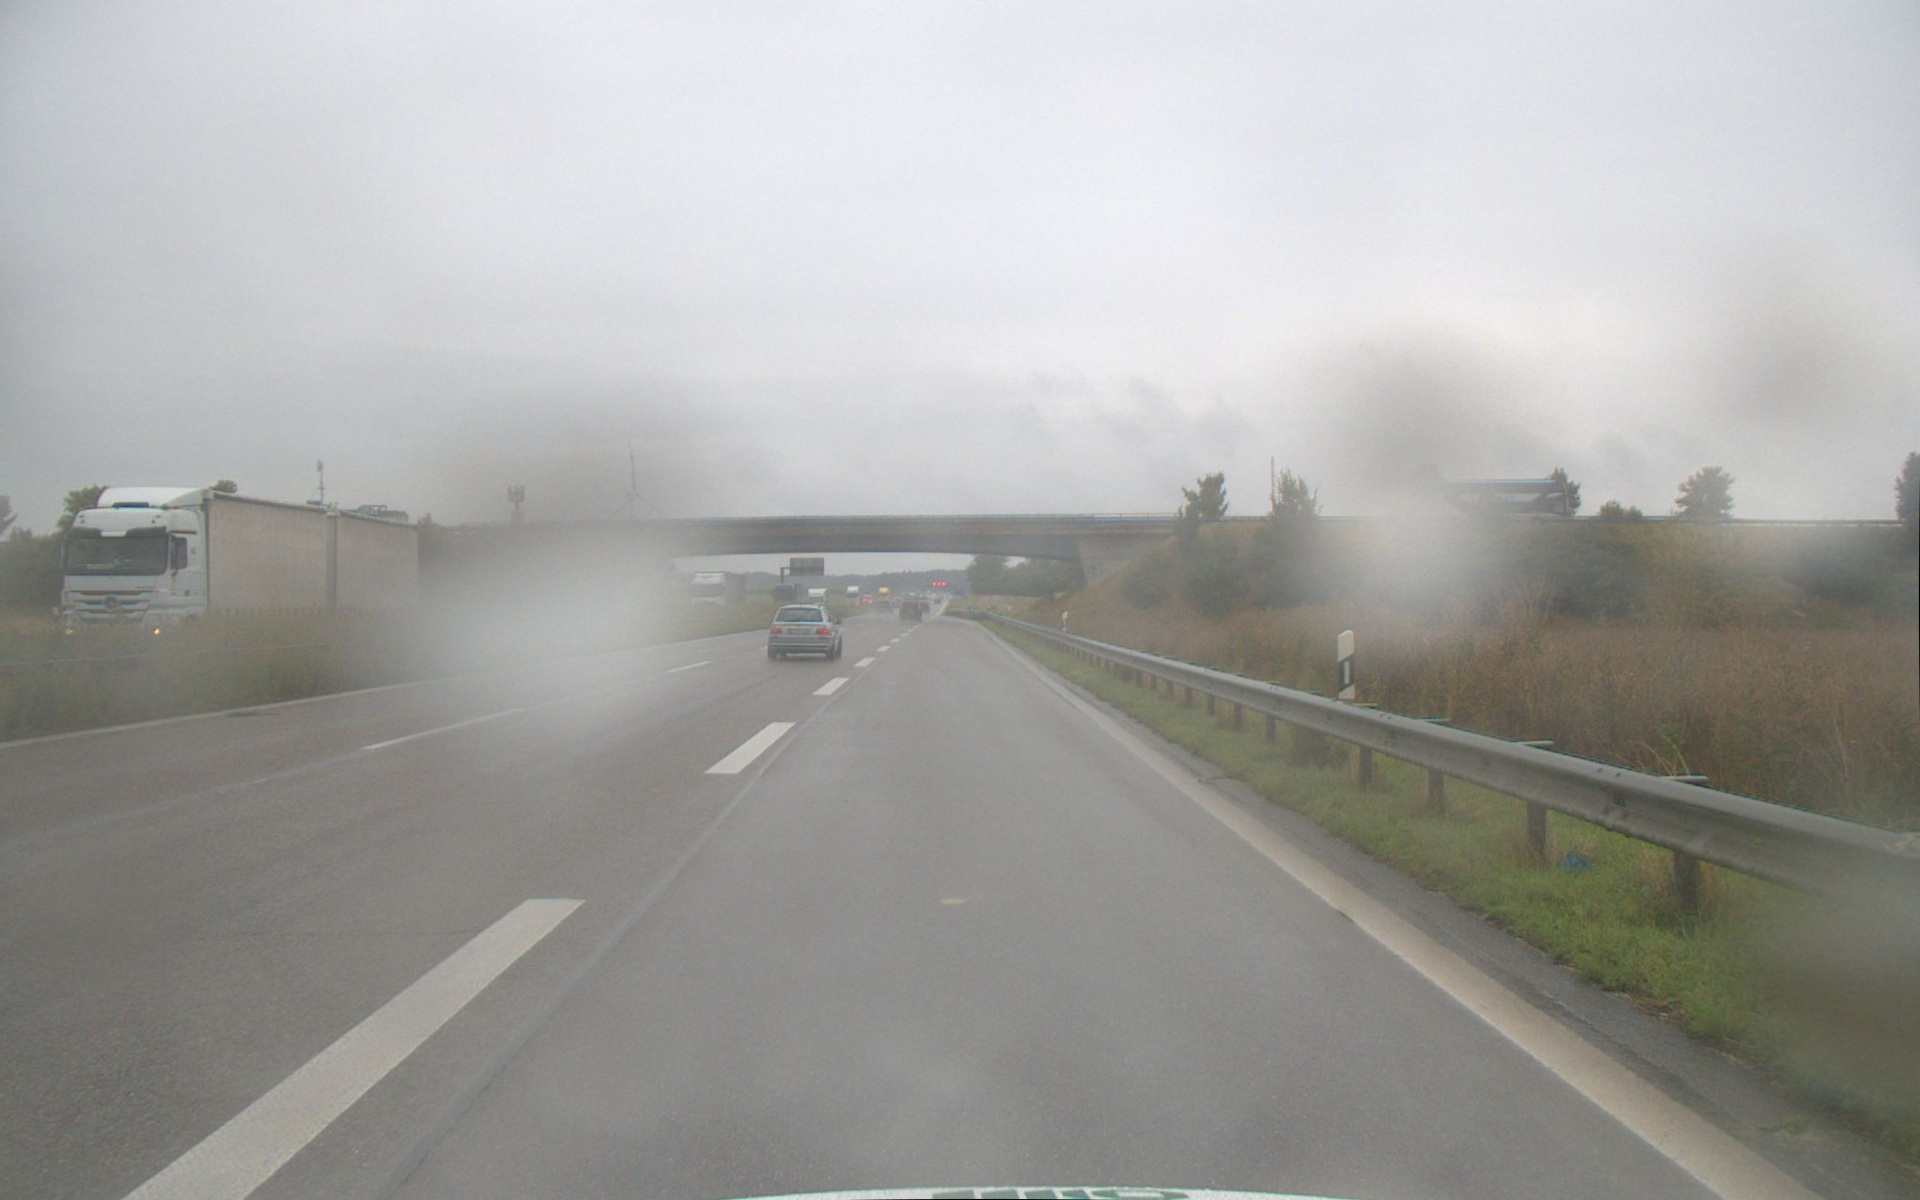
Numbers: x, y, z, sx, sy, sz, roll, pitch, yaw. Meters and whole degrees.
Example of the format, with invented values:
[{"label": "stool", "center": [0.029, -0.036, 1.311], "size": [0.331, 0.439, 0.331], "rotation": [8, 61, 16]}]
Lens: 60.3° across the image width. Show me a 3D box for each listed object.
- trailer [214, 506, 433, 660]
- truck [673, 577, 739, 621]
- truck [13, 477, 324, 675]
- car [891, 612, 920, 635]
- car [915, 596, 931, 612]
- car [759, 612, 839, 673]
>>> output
[{"label": "trailer", "center": [-20.127, -0.475, 53.230], "size": [3.163, 4.462, 10.511], "rotation": [0, 0, -1]}, {"label": "truck", "center": [-20.935, -0.092, 137.229], "size": [2.929, 3.435, 11.056], "rotation": [0, 0, 4]}, {"label": "truck", "center": [-19.921, -0.521, 42.670], "size": [3.163, 4.462, 10.511], "rotation": [0, 0, -1]}, {"label": "car", "center": [-4.166, 1.811, 126.335], "size": [2.102, 1.665, 4.593], "rotation": [1, -1, -1]}, {"label": "car", "center": [-4.567, 0.512, 205.254], "size": [1.953, 1.727, 4.000], "rotation": [-2, 2, -1]}, {"label": "car", "center": [-4.218, 1.089, 44.012], "size": [1.836, 1.514, 4.794], "rotation": [0, -1, -2]}]
